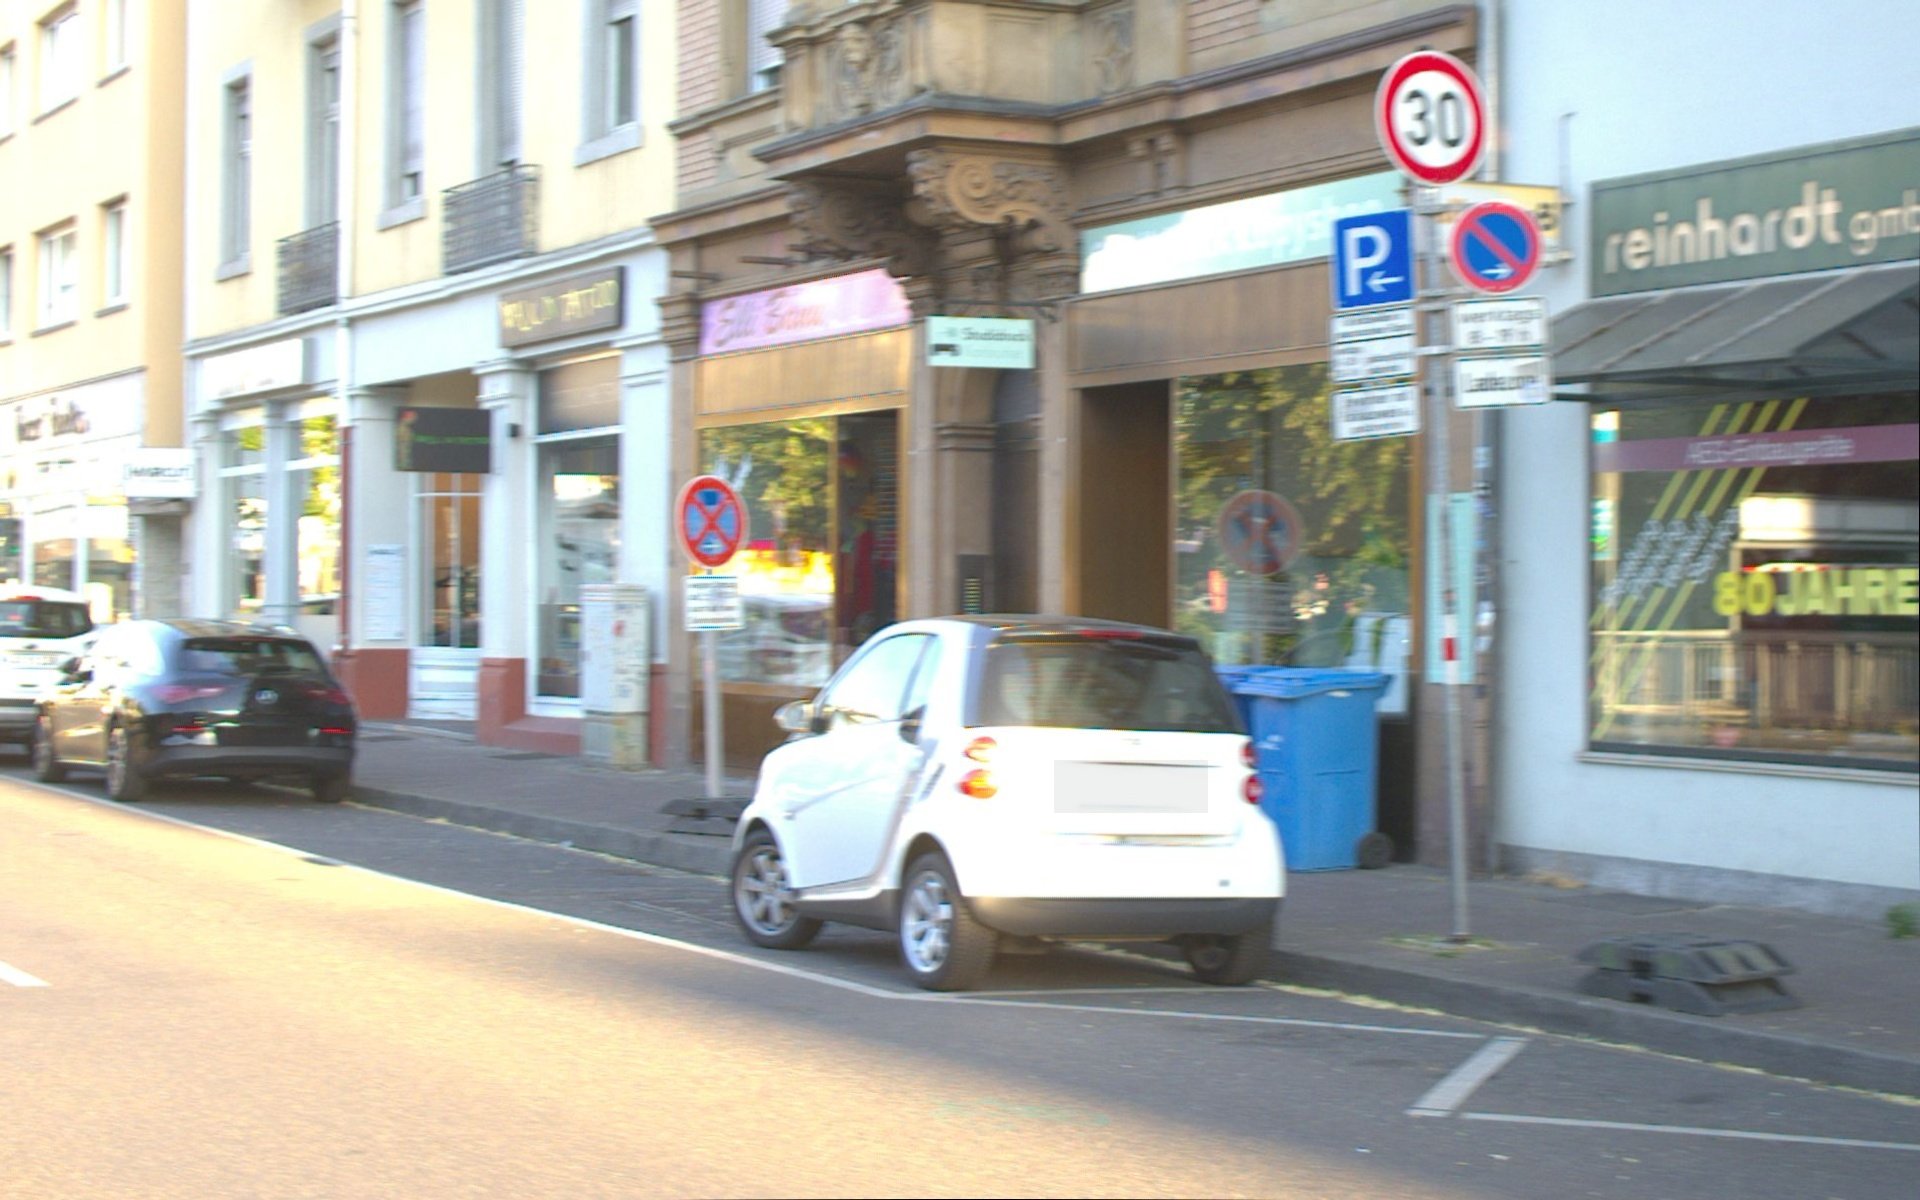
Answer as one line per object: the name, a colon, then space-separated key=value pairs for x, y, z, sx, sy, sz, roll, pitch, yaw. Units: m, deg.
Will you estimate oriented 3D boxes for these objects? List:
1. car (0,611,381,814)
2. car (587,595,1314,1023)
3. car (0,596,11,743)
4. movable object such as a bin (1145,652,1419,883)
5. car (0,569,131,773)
car: x=-6.394 y=0.851 z=27.805 sx=1.993 sy=1.429 sz=4.851 roll=1 pitch=0 yaw=-27
car: x=-0.193 y=0.834 z=15.788 sx=1.699 sy=1.579 sz=4.000 roll=1 pitch=2 yaw=-27
car: x=-12.059 y=0.658 z=38.137 sx=2.015 sy=1.538 sz=4.870 roll=1 pitch=1 yaw=-27
movable object such as a bin: x=1.752 y=0.896 z=18.905 sx=0.866 sy=1.182 sz=1.398 roll=1 pitch=0 yaw=-27
car: x=-9.483 y=0.616 z=33.016 sx=1.881 sy=1.739 sz=4.660 roll=1 pitch=1 yaw=-27
